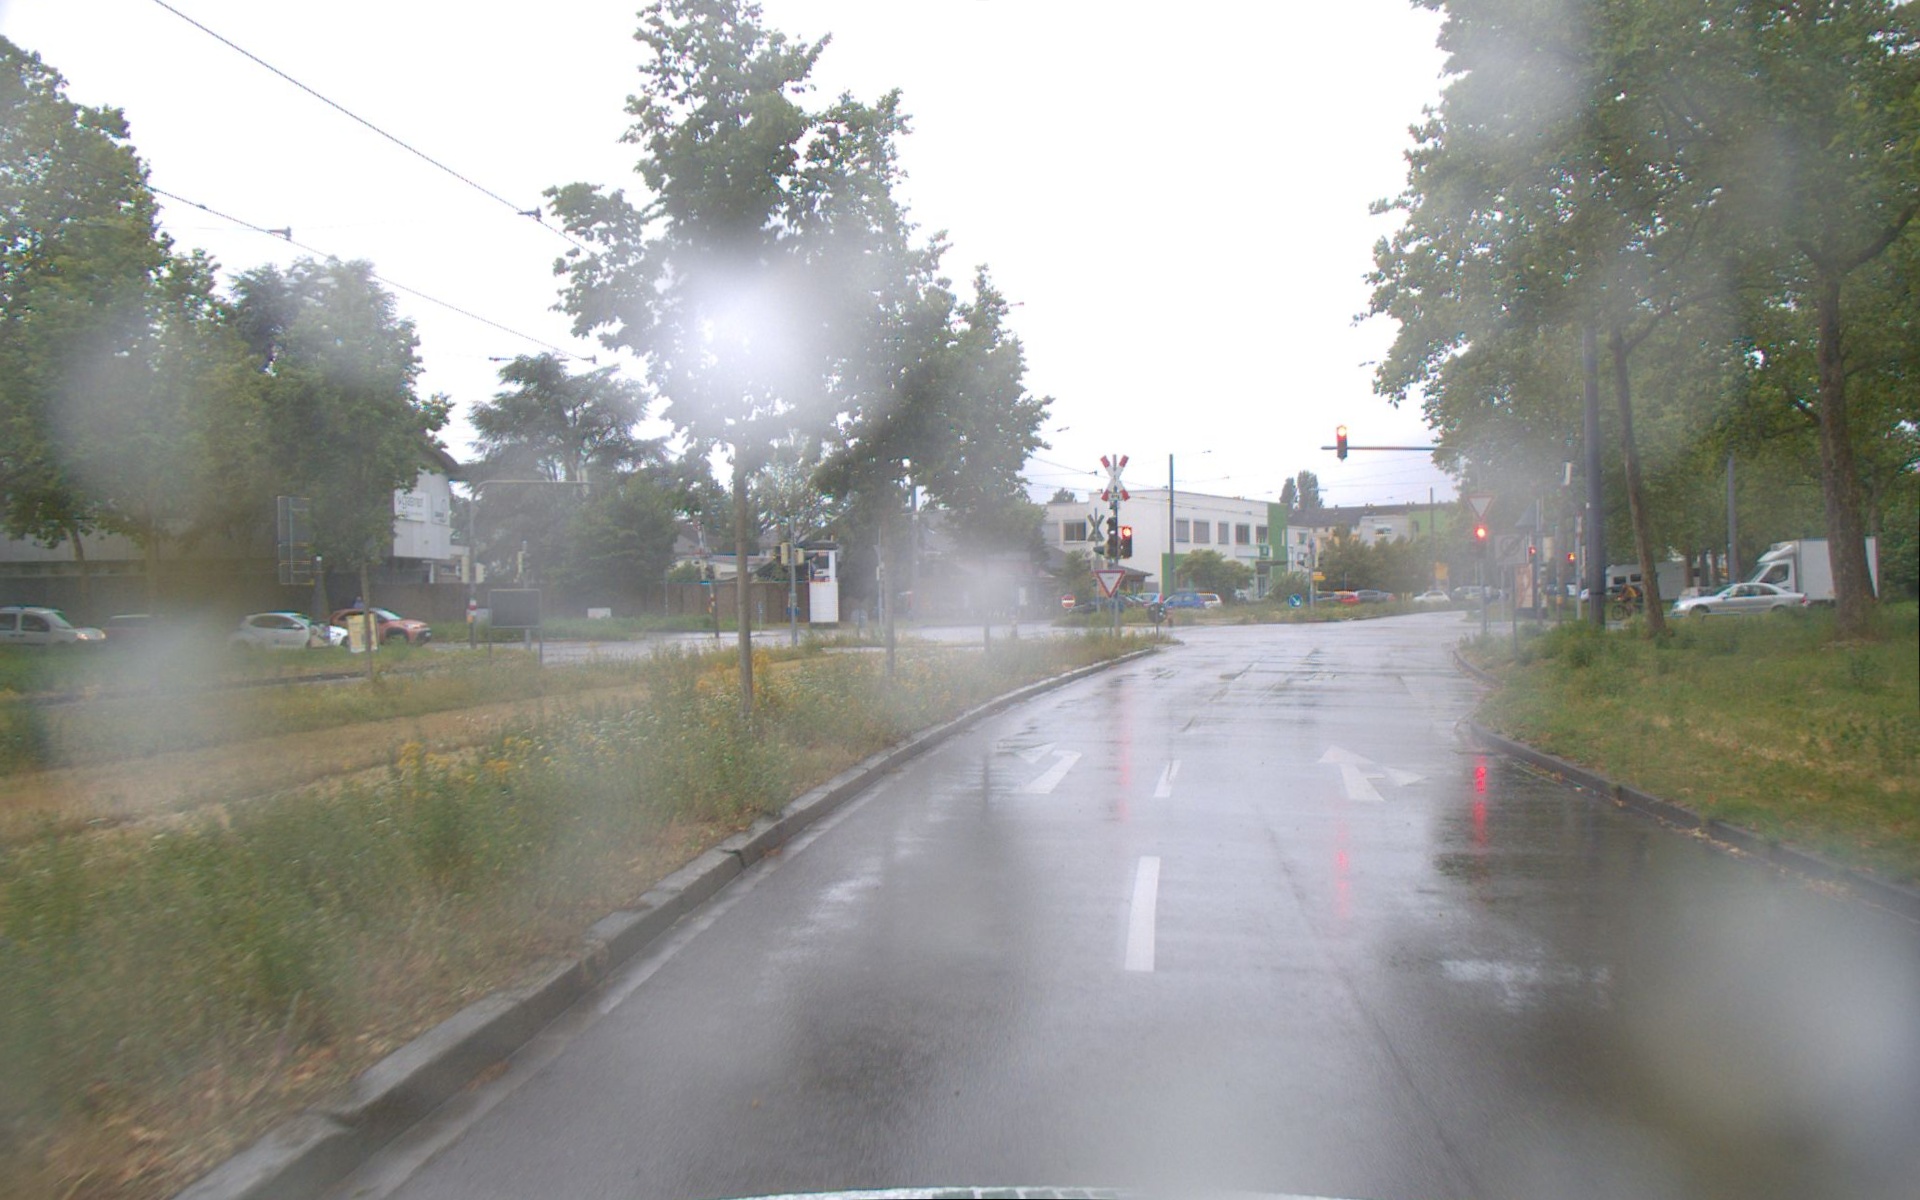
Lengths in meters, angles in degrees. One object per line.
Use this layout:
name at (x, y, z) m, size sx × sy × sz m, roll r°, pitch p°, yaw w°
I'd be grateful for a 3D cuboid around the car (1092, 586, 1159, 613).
car at (9.874, -0.023, 98.724) m, size 3.671 × 1.467 × 1.764 m, roll -2°, pitch 0°, yaw 16°

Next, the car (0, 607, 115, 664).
car at (-31.221, 1.204, 56.195) m, size 4.124 × 1.828 × 1.652 m, roll -1°, pitch 1°, yaw -2°

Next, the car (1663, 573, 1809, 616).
car at (27.652, -0.181, 59.048) m, size 4.416 × 1.414 × 1.646 m, roll -1°, pitch 0°, yaw 10°

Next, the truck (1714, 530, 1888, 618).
truck at (31.233, -0.958, 61.557) m, size 5.351 × 3.112 × 1.983 m, roll -1°, pitch 0°, yaw 9°

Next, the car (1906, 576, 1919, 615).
car at (37.099, -0.195, 60.464) m, size 4.022 × 1.414 × 1.646 m, roll -1°, pitch 0°, yaw 10°

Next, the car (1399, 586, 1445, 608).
car at (44.010, -0.295, 157.545) m, size 4.047 × 1.892 × 1.675 m, roll -2°, pitch 0°, yaw 8°

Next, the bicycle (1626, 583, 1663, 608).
bicycle at (32.259, -0.212, 77.977) m, size 1.529 × 1.121 × 0.500 m, roll -2°, pitch 0°, yaw 1°

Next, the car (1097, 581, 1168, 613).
car at (10.651, -0.183, 102.099) m, size 4.049 × 1.892 × 1.674 m, roll -2°, pitch 0°, yaw 20°

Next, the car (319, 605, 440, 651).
car at (-20.892, 0.999, 59.611) m, size 3.739 × 1.525 × 1.652 m, roll -2°, pitch 0°, yaw 1°

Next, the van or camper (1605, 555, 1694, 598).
van or camper at (45.367, -1.580, 108.894) m, size 5.125 × 2.744 × 2.238 m, roll 1°, pitch 1°, yaw 31°

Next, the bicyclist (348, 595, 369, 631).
bicyclist at (-29.044, 0.609, 79.861) m, size 0.669 × 1.712 × 0.642 m, roll -2°, pitch -1°, yaw 9°

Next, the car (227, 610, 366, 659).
car at (-22.347, 1.150, 55.815) m, size 3.981 × 1.525 × 1.652 m, roll -2°, pitch 0°, yaw 1°

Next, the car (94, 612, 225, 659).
car at (-28.842, 1.271, 59.669) m, size 3.829 × 1.525 × 1.651 m, roll -1°, pitch 1°, yaw -3°

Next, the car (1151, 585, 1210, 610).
car at (14.163, -0.153, 106.365) m, size 3.670 × 1.467 × 1.764 m, roll -2°, pitch 0°, yaw 7°

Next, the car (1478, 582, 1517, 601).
car at (59.116, -0.927, 181.871) m, size 4.049 × 1.892 × 1.674 m, roll -2°, pitch 0°, yaw 20°

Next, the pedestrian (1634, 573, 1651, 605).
pedestrian at (32.187, -0.503, 77.982) m, size 0.564 × 1.501 × 0.500 m, roll -2°, pitch 0°, yaw 1°

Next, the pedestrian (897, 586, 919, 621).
pedestrian at (-2.725, 0.175, 87.224) m, size 0.793 × 1.794 × 0.899 m, roll -1°, pitch 0°, yaw -32°

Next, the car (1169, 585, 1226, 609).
car at (15.708, -0.214, 109.381) m, size 3.670 × 1.467 × 1.764 m, roll -2°, pitch 0°, yaw 7°
